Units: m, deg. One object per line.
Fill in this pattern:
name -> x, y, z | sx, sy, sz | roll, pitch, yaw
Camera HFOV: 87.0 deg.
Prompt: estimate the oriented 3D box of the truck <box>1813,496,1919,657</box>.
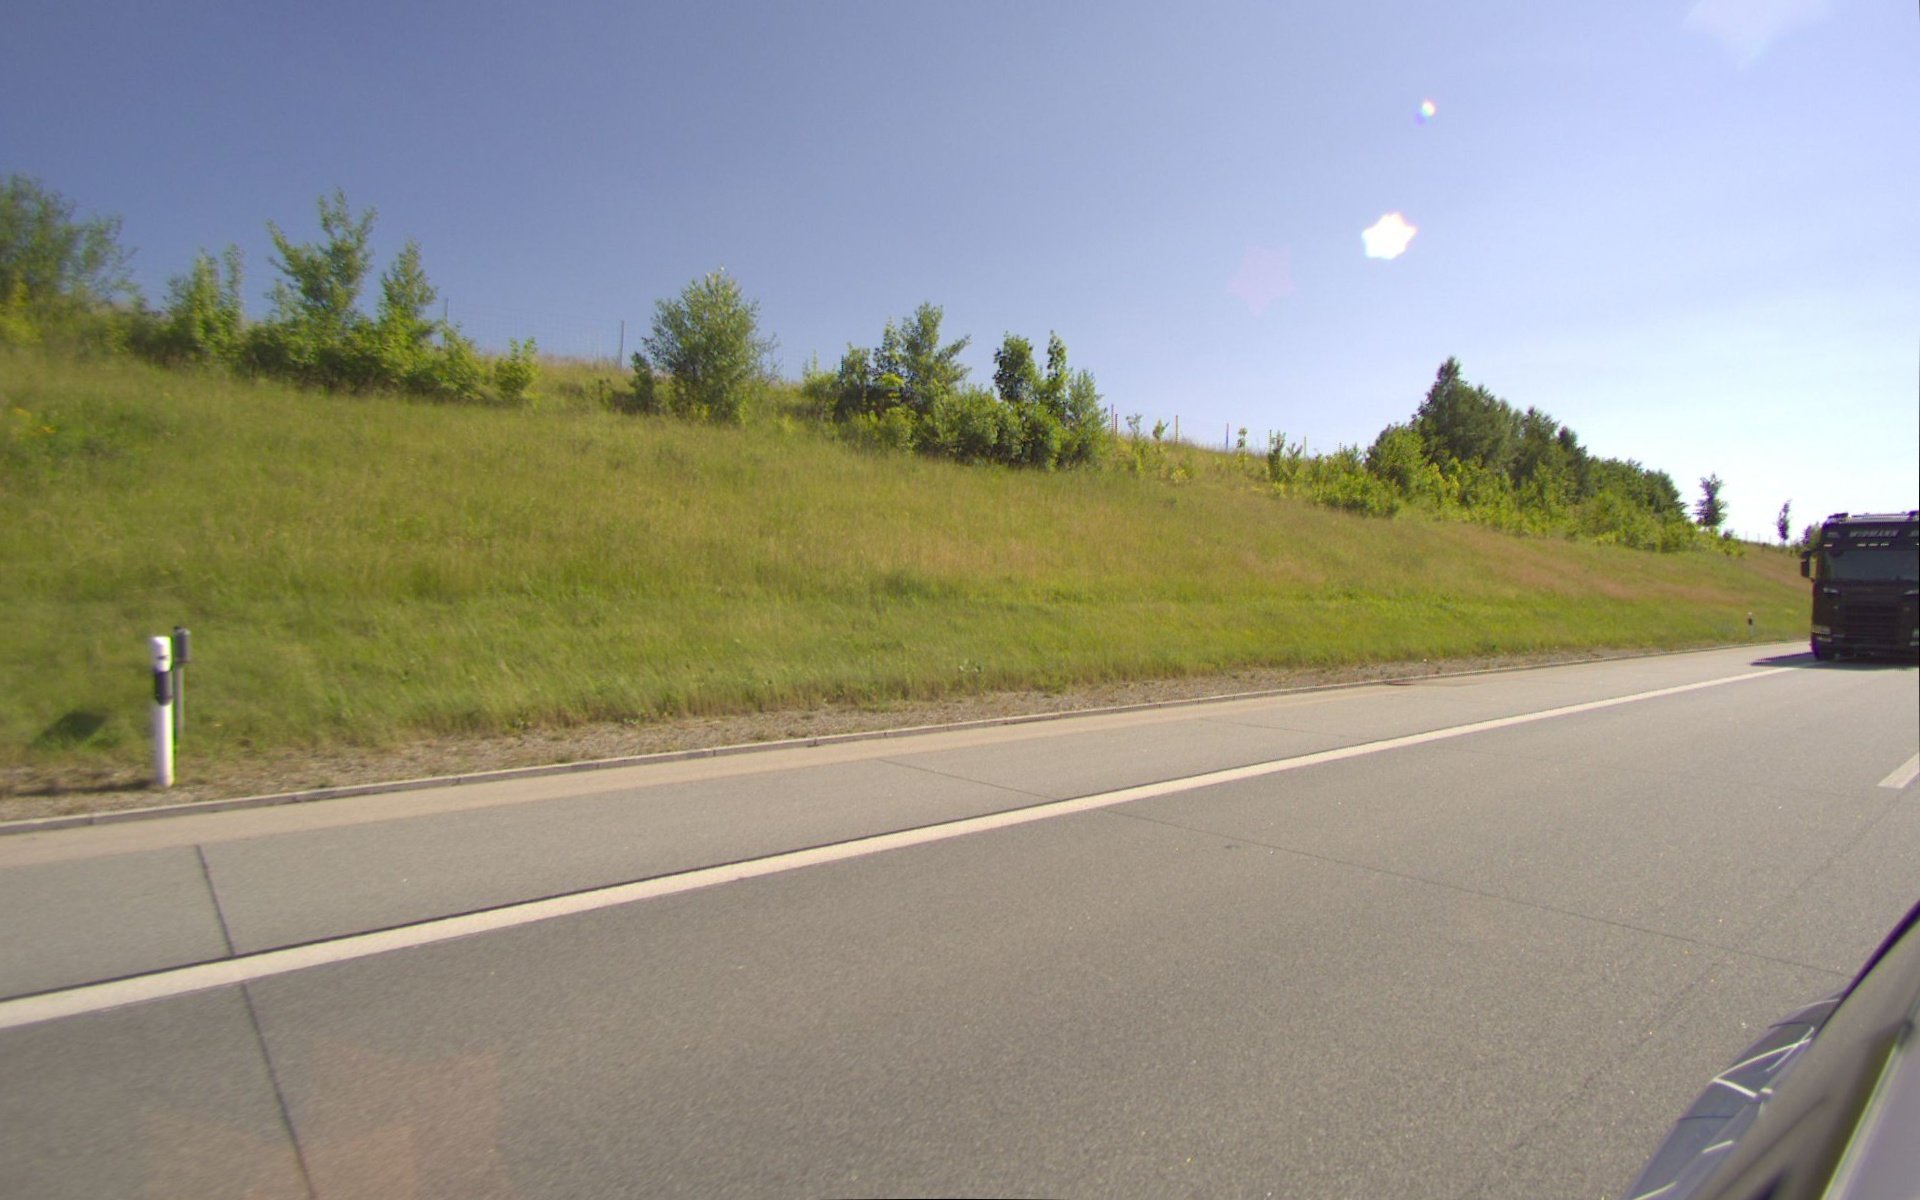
truck -> 27.516, -0.595, 28.913 | 13.165, 3.866, 2.622 | 0, 0, -40
